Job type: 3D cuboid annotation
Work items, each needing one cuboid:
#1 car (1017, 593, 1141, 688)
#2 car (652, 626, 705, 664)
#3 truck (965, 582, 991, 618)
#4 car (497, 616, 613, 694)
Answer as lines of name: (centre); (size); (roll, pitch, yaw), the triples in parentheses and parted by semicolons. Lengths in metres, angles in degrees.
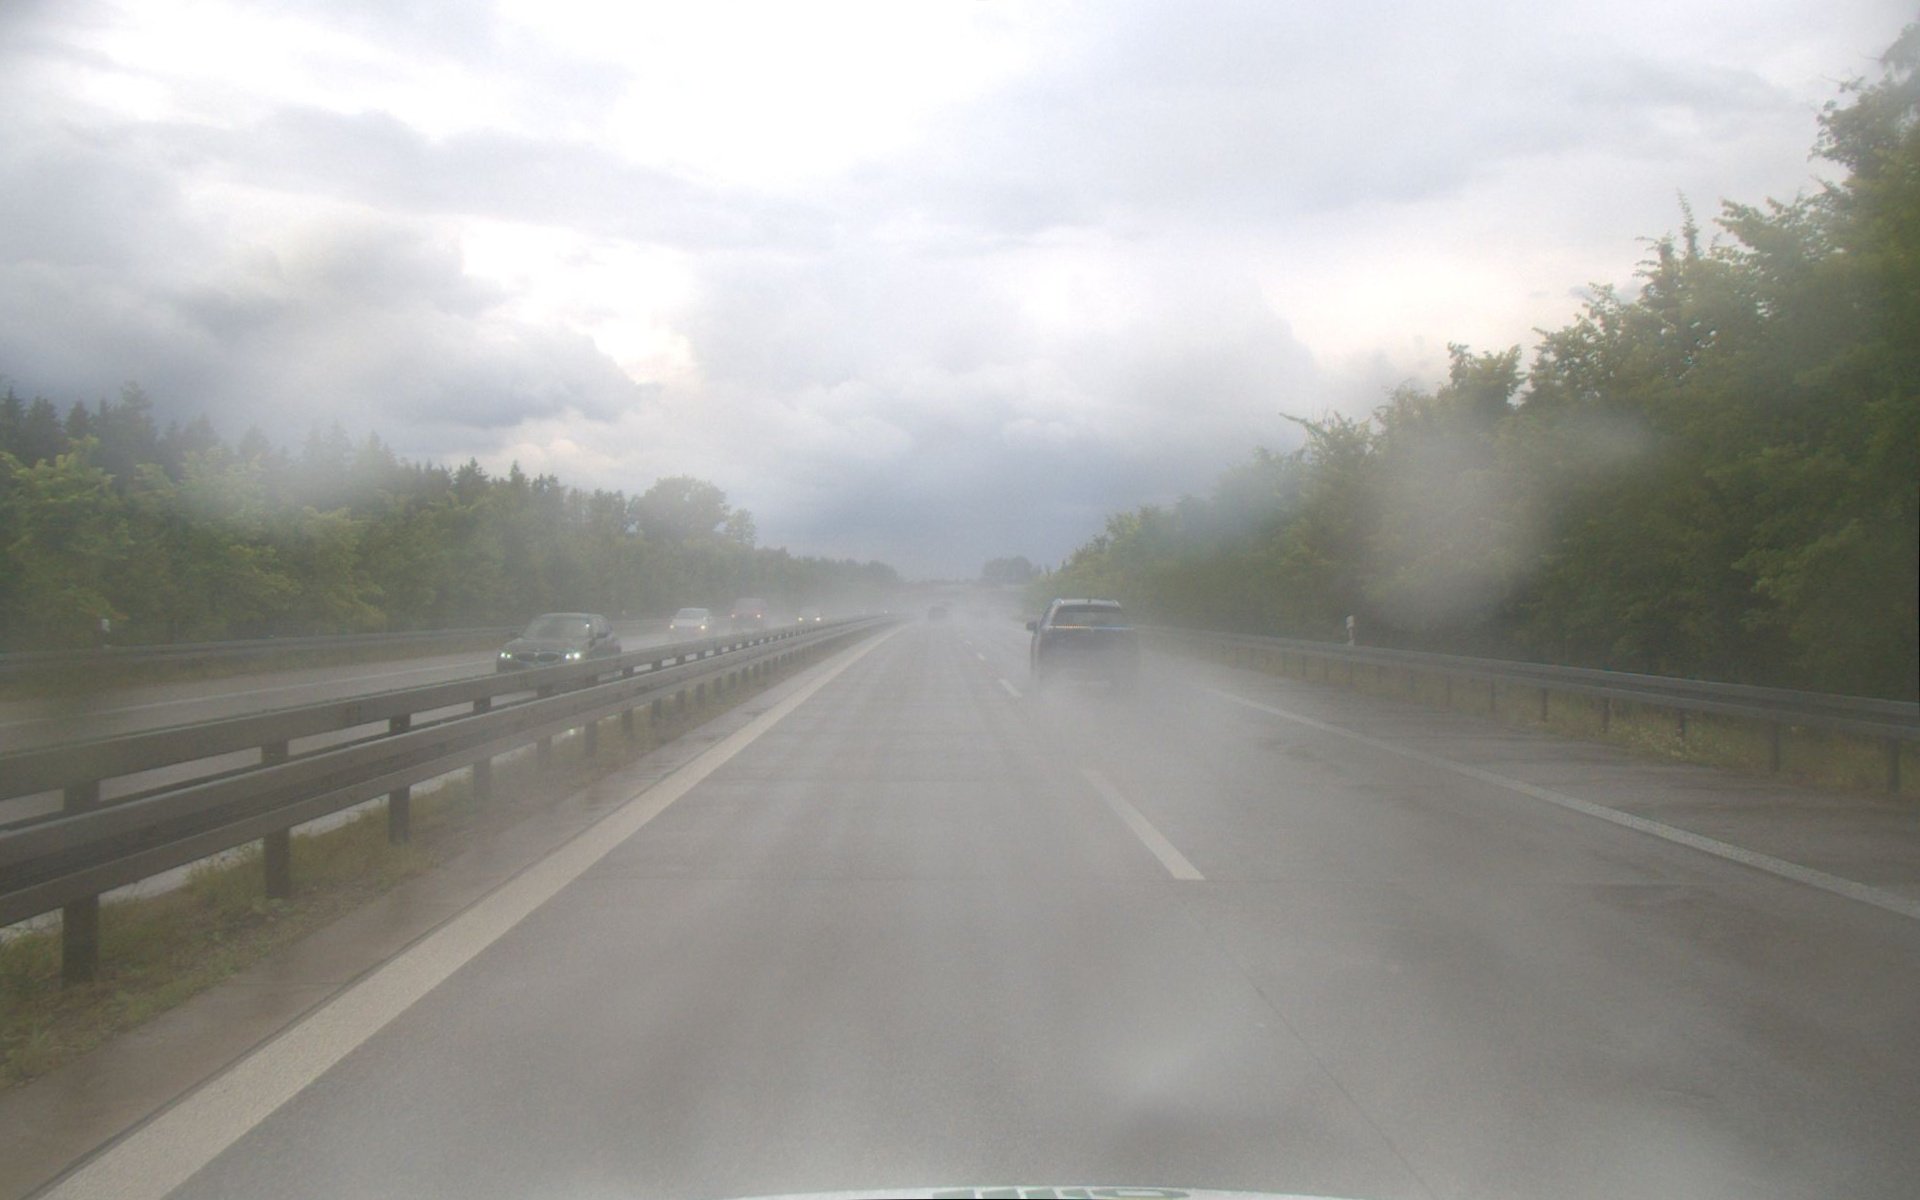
car: (2.097, 0.731, 30.016); (1.856, 1.604, 3.630); (1, -1, -2)
car: (-12.258, 1.927, 72.232); (1.714, 1.460, 3.917); (-2, 0, -2)
truck: (2.310, 0.045, 208.860); (3.176, 4.515, 8.247); (0, -1, 2)
car: (-8.203, 1.074, 33.790); (1.489, 1.428, 3.930); (-1, 0, -2)
